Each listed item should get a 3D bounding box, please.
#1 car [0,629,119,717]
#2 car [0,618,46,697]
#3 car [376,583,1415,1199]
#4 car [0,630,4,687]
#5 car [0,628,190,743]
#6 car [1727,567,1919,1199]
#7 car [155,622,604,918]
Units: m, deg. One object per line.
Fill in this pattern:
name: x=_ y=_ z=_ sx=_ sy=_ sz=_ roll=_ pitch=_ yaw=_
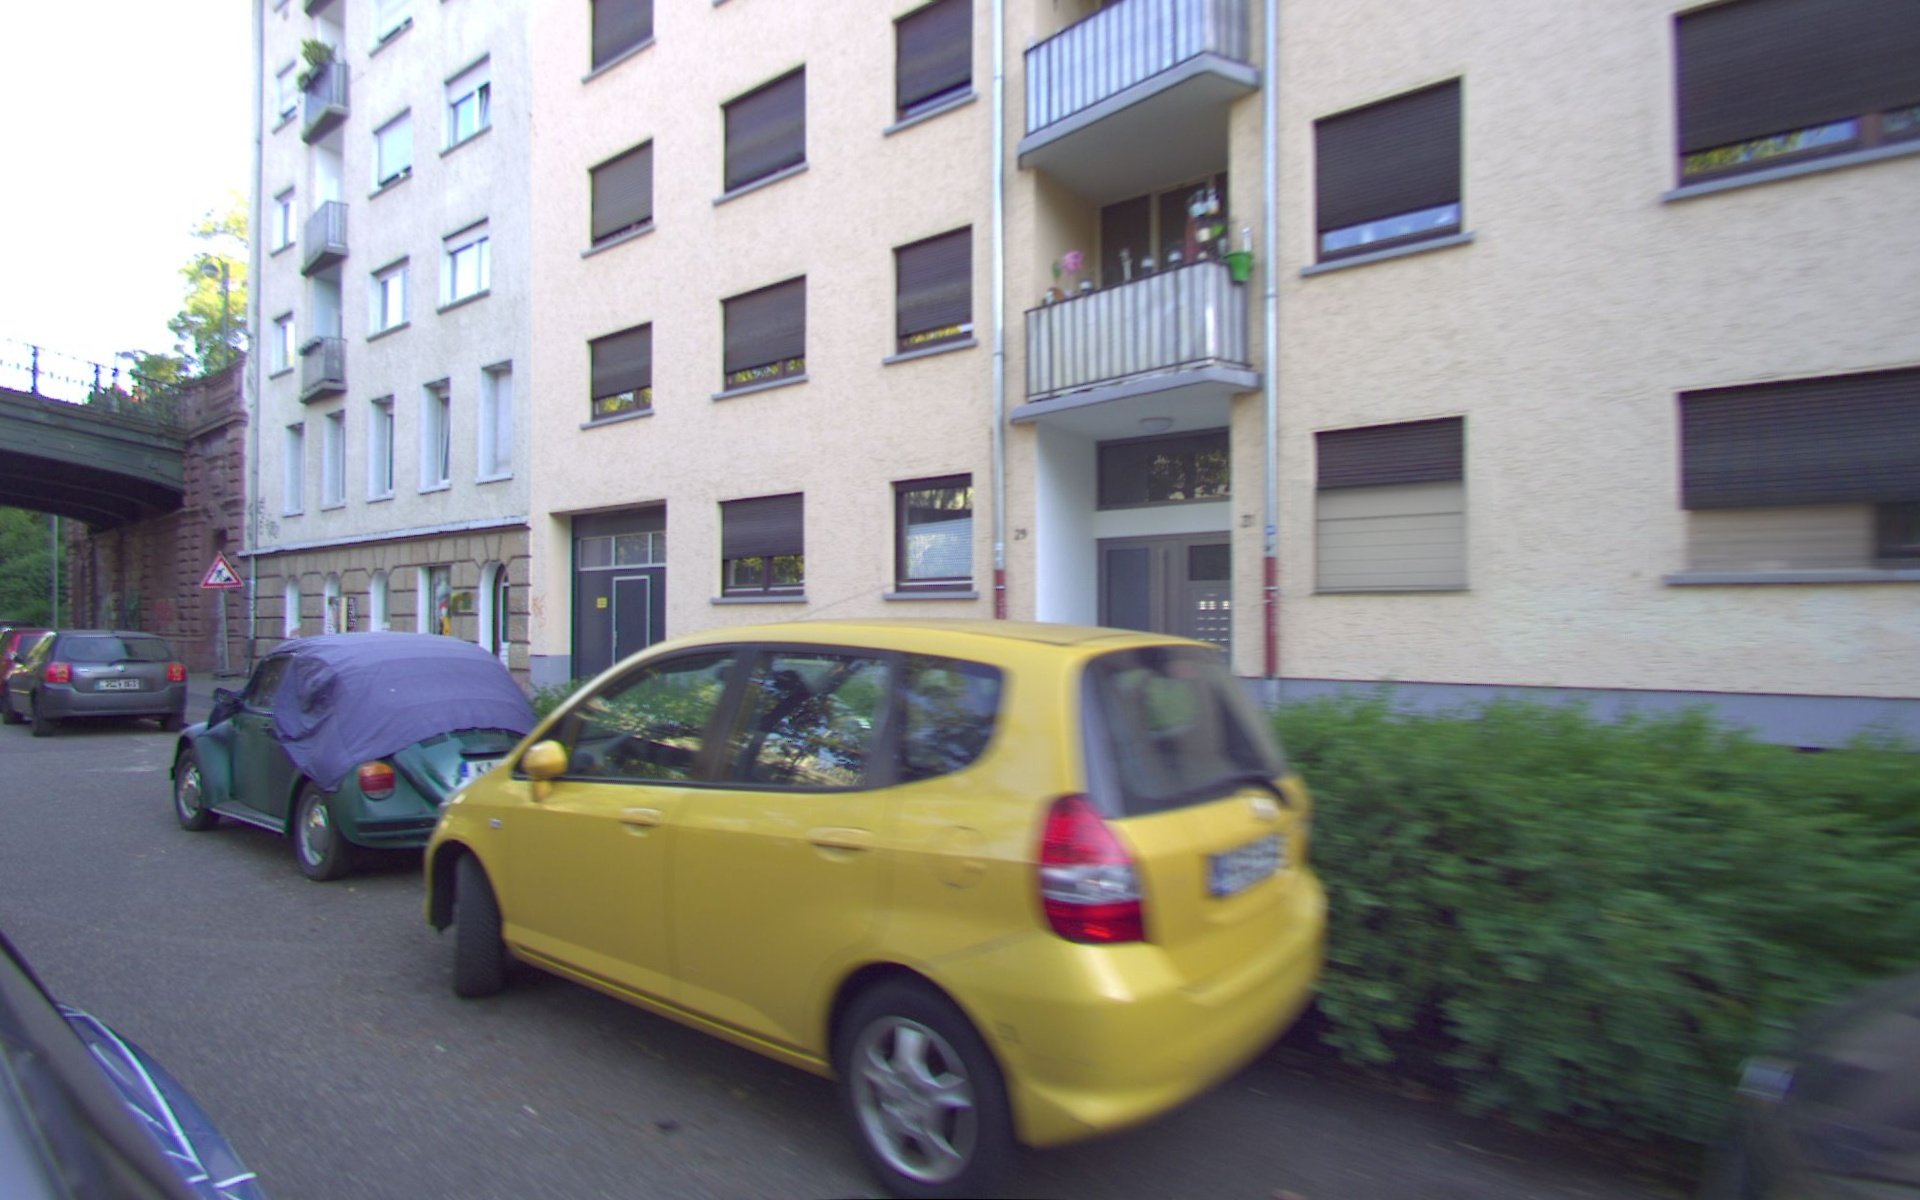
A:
car: x=-17.034 y=1.264 z=18.618 sx=3.996 sy=1.452 sz=1.672 roll=-1 pitch=-2 yaw=40
car: x=-22.836 y=1.281 z=23.424 sx=4.316 sy=1.721 sz=1.701 roll=-1 pitch=-3 yaw=37
car: x=-0.506 y=0.783 z=3.825 sx=3.769 sy=1.537 sz=1.686 roll=-1 pitch=-2 yaw=39
car: x=-26.866 y=1.500 z=26.833 sx=3.996 sy=1.475 sz=1.699 roll=-1 pitch=-3 yaw=40
car: x=-13.063 y=1.203 z=15.073 sx=3.996 sy=1.478 sz=1.620 roll=-1 pitch=-5 yaw=40
car: x=2.947 y=0.707 z=0.496 sx=3.997 sy=1.490 sz=1.721 roll=-1 pitch=-3 yaw=41
car: x=-4.203 y=0.928 z=7.090 sx=3.780 sy=1.529 sz=1.550 roll=-1 pitch=-2 yaw=41
